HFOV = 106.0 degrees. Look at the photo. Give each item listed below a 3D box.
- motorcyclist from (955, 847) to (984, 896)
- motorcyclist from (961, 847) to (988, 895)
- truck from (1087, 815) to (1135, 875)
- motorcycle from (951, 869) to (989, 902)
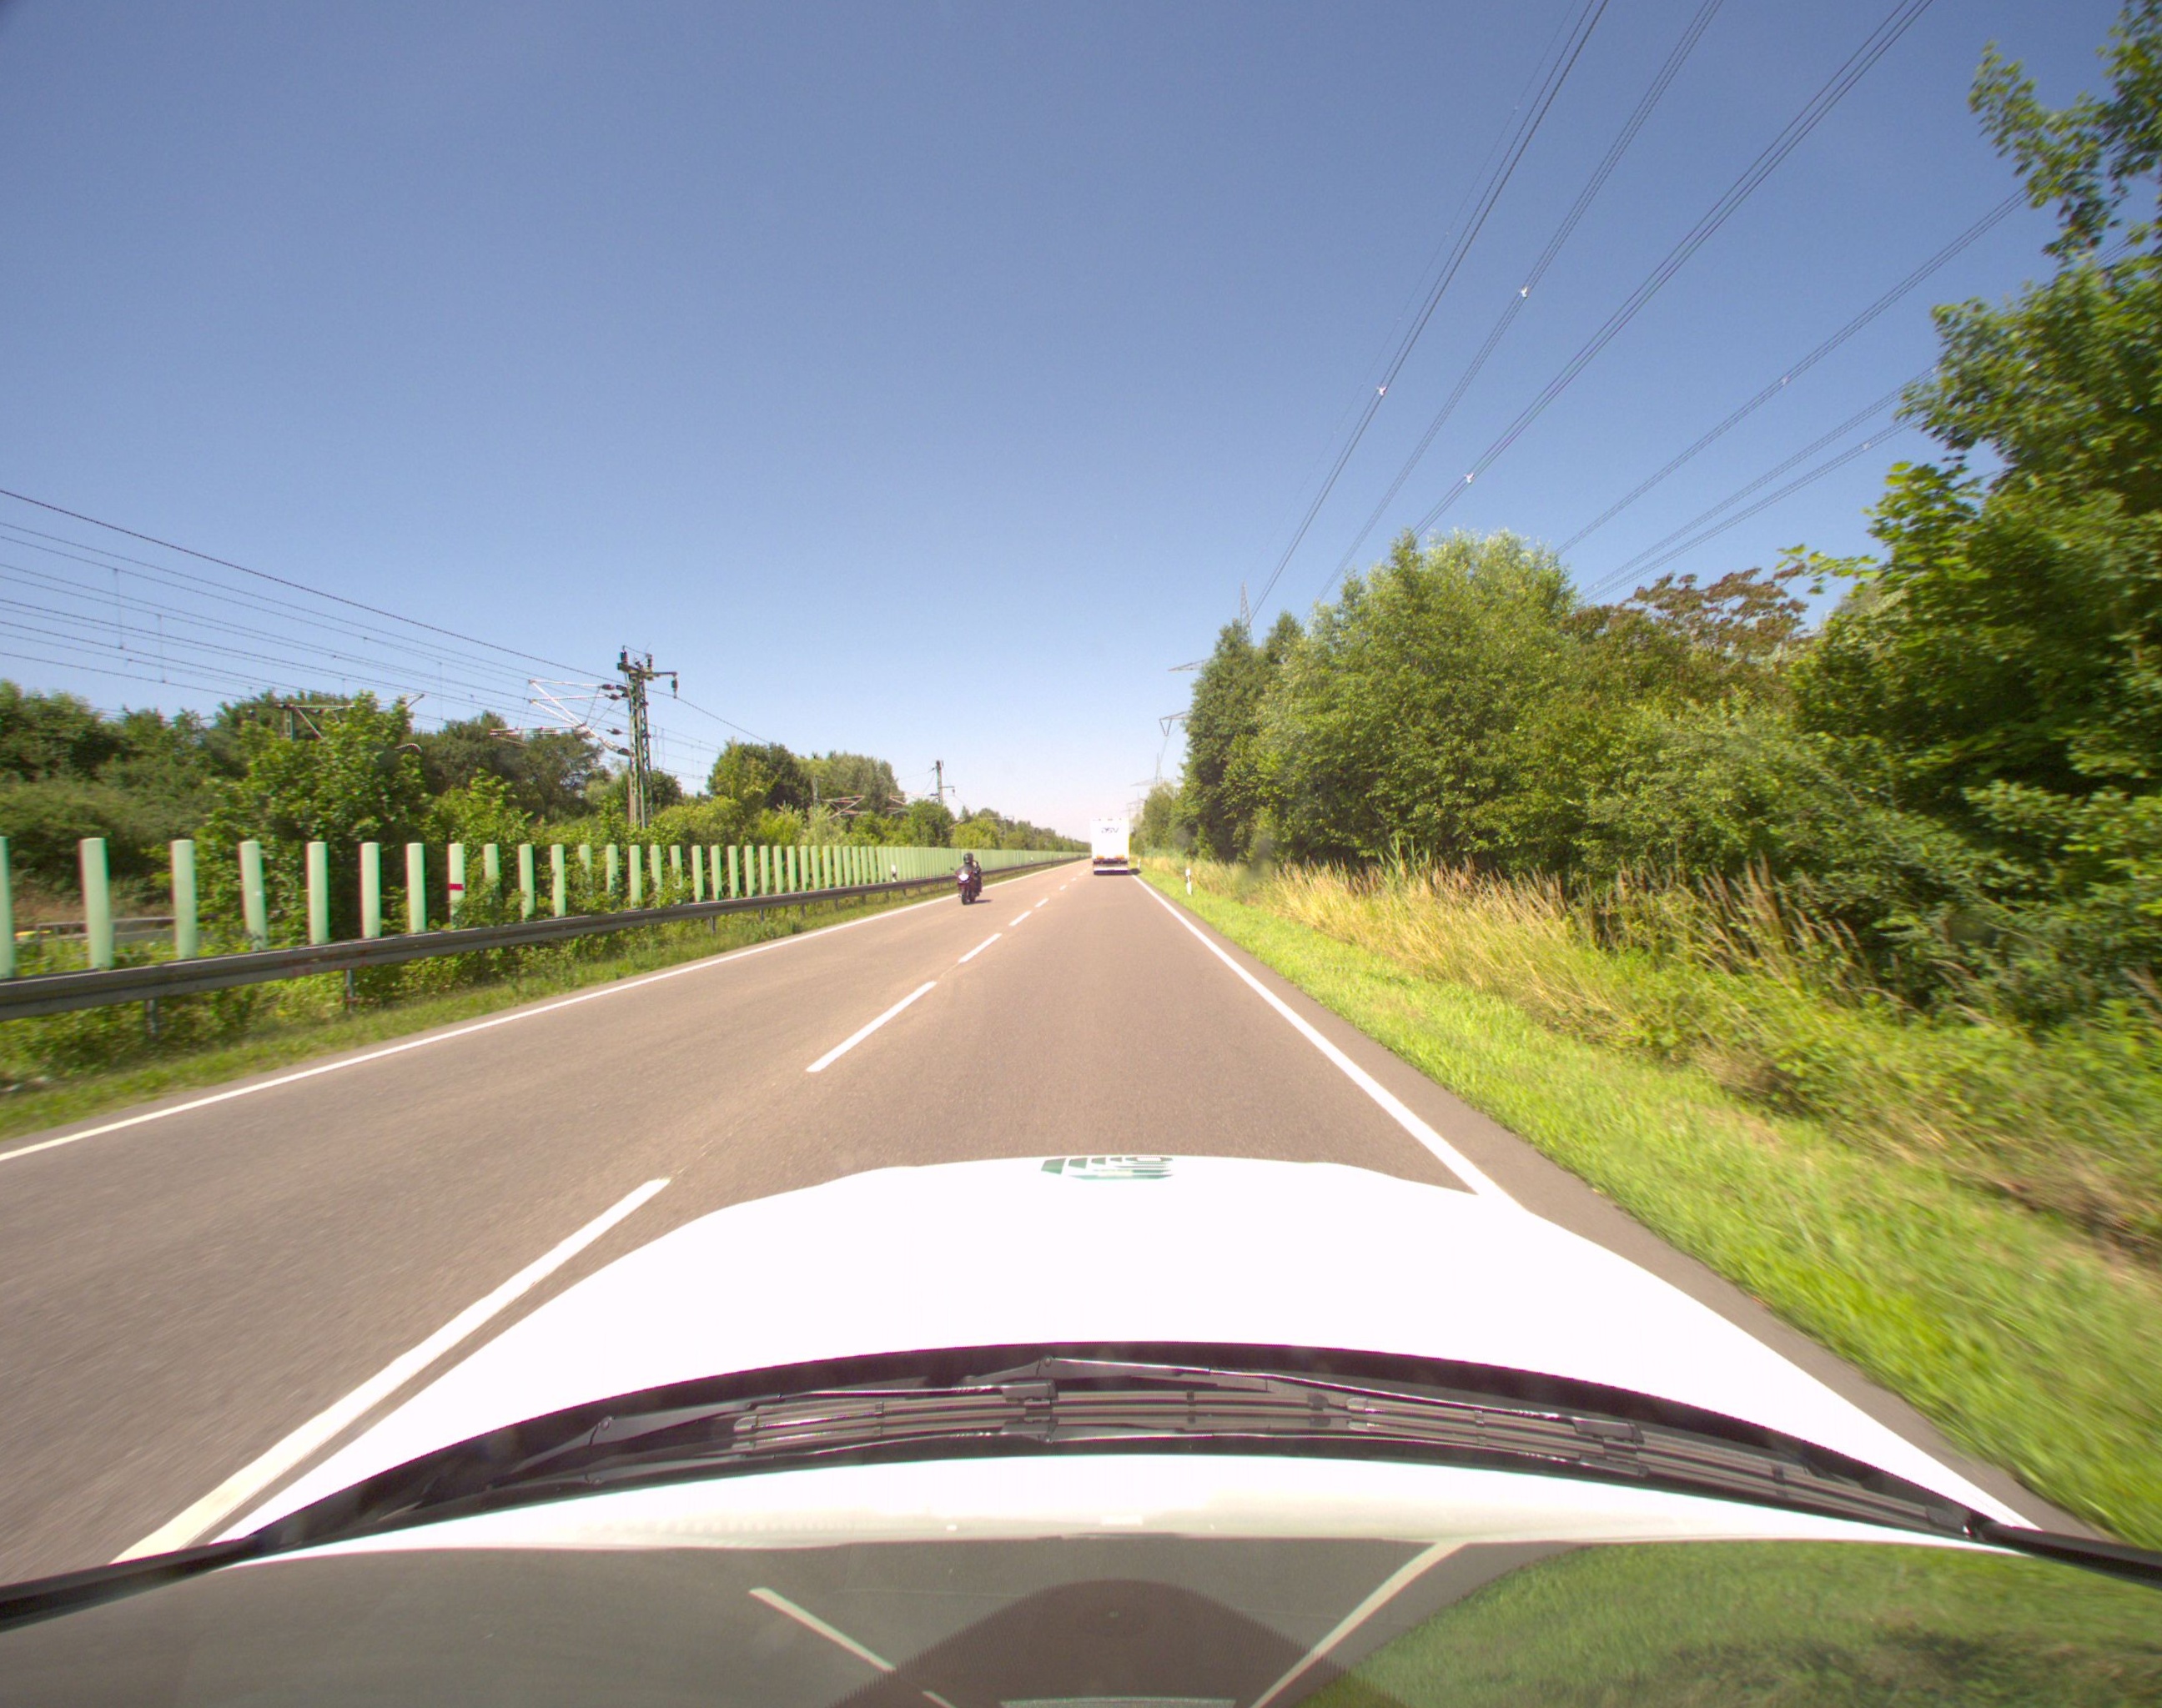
[{"bbox_3d":[-3.661,0.570,26.762,0.755,1.583,1.004,0,-1,3],"label":"motorcyclist"},{"bbox_3d":[-3.607,0.569,27.711,0.746,1.583,0.864,0,-1,3],"label":"motorcyclist"},{"bbox_3d":[2.233,-0.616,62.169,3.180,4.042,12.010,-2,0,1],"label":"truck"},{"bbox_3d":[-3.643,1.012,26.967,0.751,1.014,2.723,0,0,3],"label":"motorcycle"}]
